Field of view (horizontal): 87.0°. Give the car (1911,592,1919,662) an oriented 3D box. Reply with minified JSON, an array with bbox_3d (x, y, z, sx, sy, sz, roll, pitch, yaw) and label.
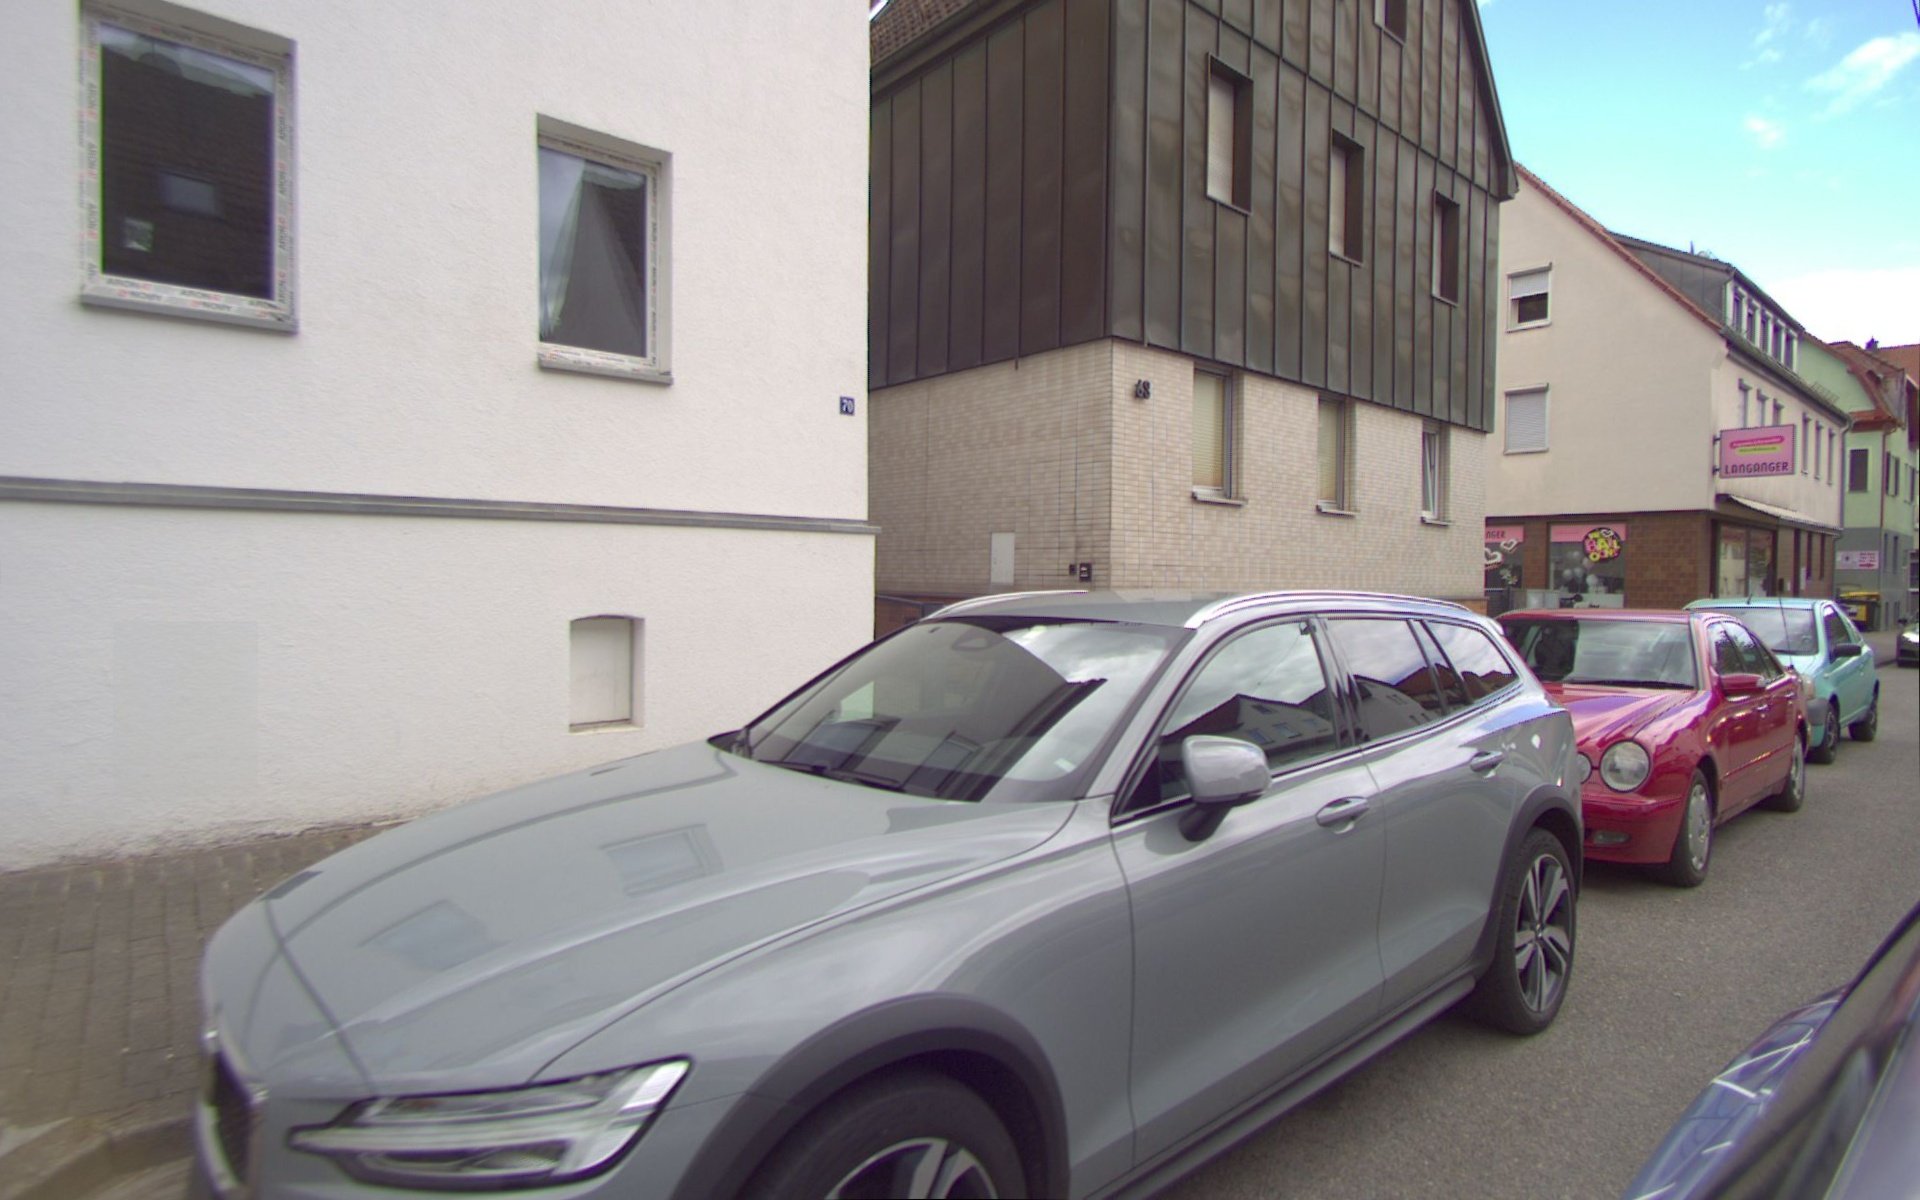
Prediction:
[{"bbox_3d":[22.221,0.561,22.153,4.042,1.464,1.832,-1,0,-44],"label":"car"}]

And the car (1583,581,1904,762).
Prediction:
[{"bbox_3d":[8.193,0.577,10.469,3.922,1.516,1.835,-1,0,-40],"label":"car"}]

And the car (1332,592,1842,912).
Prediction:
[{"bbox_3d":[4.438,0.698,6.840,4.378,1.464,1.757,-1,0,-42],"label":"car"}]

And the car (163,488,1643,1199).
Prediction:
[{"bbox_3d":[0.367,0.636,3.171,4.434,1.559,1.879,-1,1,-41],"label":"car"}]
